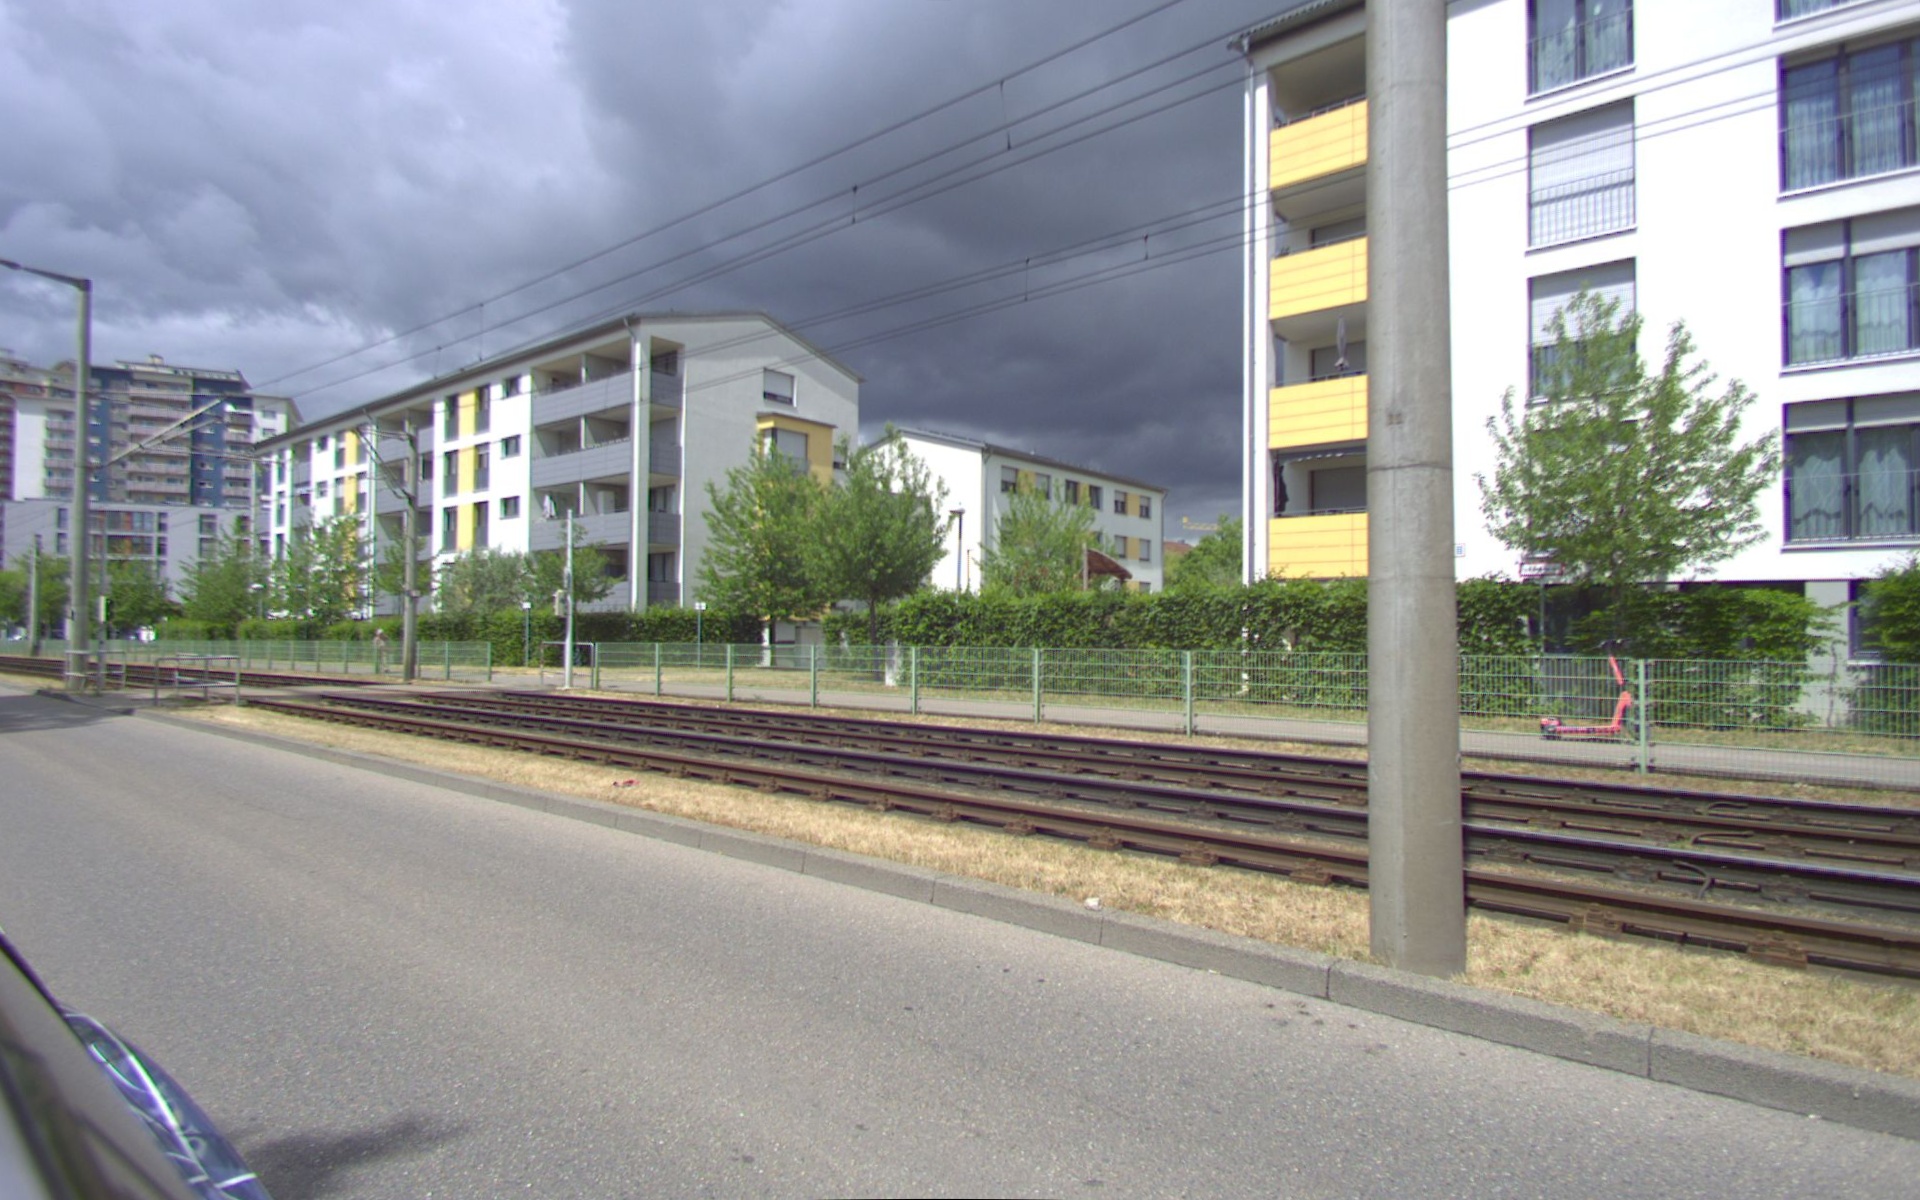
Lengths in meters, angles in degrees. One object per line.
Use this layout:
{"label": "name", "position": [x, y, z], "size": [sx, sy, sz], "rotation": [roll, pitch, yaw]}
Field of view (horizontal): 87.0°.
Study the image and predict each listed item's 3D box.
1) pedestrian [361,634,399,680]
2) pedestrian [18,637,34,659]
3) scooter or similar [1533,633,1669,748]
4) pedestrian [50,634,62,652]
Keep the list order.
{"label": "pedestrian", "position": [-19.330, 1.891, 33.738], "size": [0.994, 1.494, 0.788], "rotation": [-2, -2, 38]}
{"label": "pedestrian", "position": [-69.136, 3.573, 74.919], "size": [0.936, 1.625, 0.747], "rotation": [-2, -2, 38]}
{"label": "scooter or similar", "position": [7.711, 1.058, 12.206], "size": [1.301, 1.303, 0.485], "rotation": [-2, -2, 41]}
{"label": "pedestrian", "position": [-84.416, 4.010, 94.485], "size": [0.537, 1.666, 0.740], "rotation": [-2, -2, 38]}
